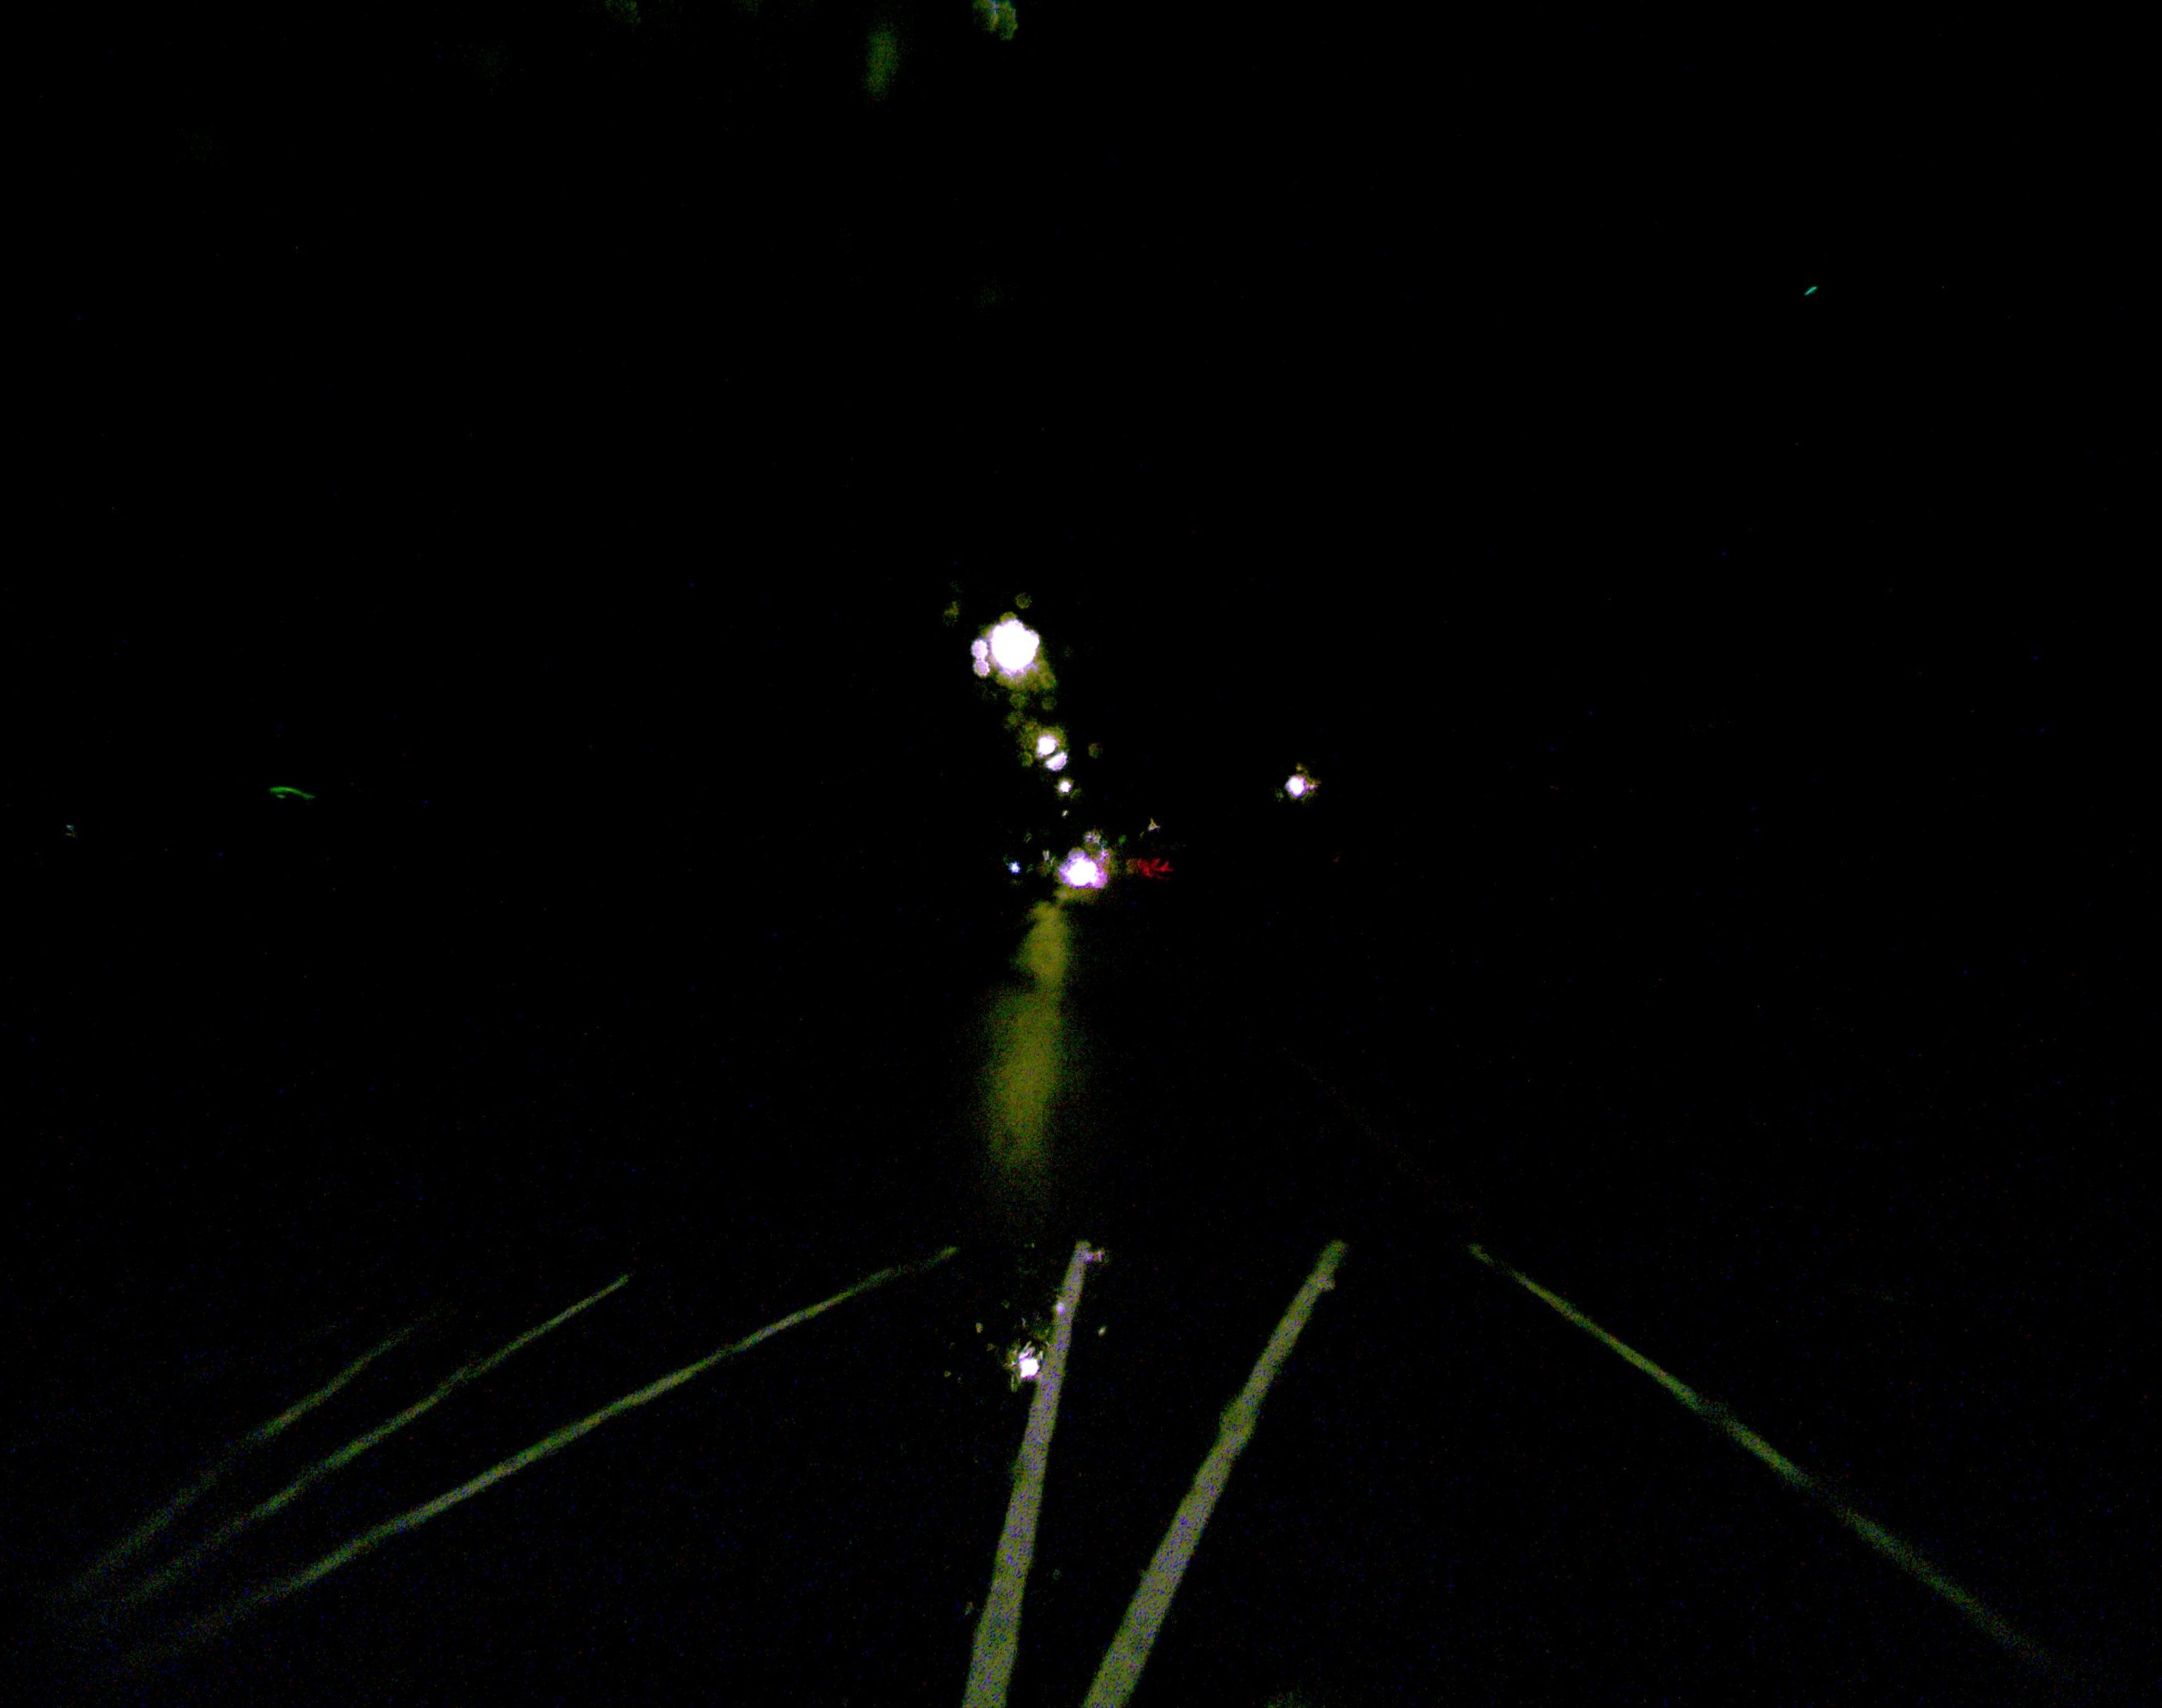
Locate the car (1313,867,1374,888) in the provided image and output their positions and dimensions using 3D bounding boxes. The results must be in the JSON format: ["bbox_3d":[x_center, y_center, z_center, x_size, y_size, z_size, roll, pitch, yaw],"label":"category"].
[{"bbox_3d":[19.957,1.791,57.922,4.084,1.364,1.494,1,4,5],"label":"car"}]

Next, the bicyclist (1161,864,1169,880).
[{"bbox_3d":[8.556,1.800,77.074,0.638,1.585,0.961,-1,-3,0],"label":"bicyclist"}]

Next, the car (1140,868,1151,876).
[{"bbox_3d":[13.839,3.780,163.002,1.997,1.447,4.306,4,0,8],"label":"car"}]

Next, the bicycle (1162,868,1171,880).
[{"bbox_3d":[8.628,2.017,76.856,0.631,1.154,2.313,1,1,0],"label":"bicycle"}]
